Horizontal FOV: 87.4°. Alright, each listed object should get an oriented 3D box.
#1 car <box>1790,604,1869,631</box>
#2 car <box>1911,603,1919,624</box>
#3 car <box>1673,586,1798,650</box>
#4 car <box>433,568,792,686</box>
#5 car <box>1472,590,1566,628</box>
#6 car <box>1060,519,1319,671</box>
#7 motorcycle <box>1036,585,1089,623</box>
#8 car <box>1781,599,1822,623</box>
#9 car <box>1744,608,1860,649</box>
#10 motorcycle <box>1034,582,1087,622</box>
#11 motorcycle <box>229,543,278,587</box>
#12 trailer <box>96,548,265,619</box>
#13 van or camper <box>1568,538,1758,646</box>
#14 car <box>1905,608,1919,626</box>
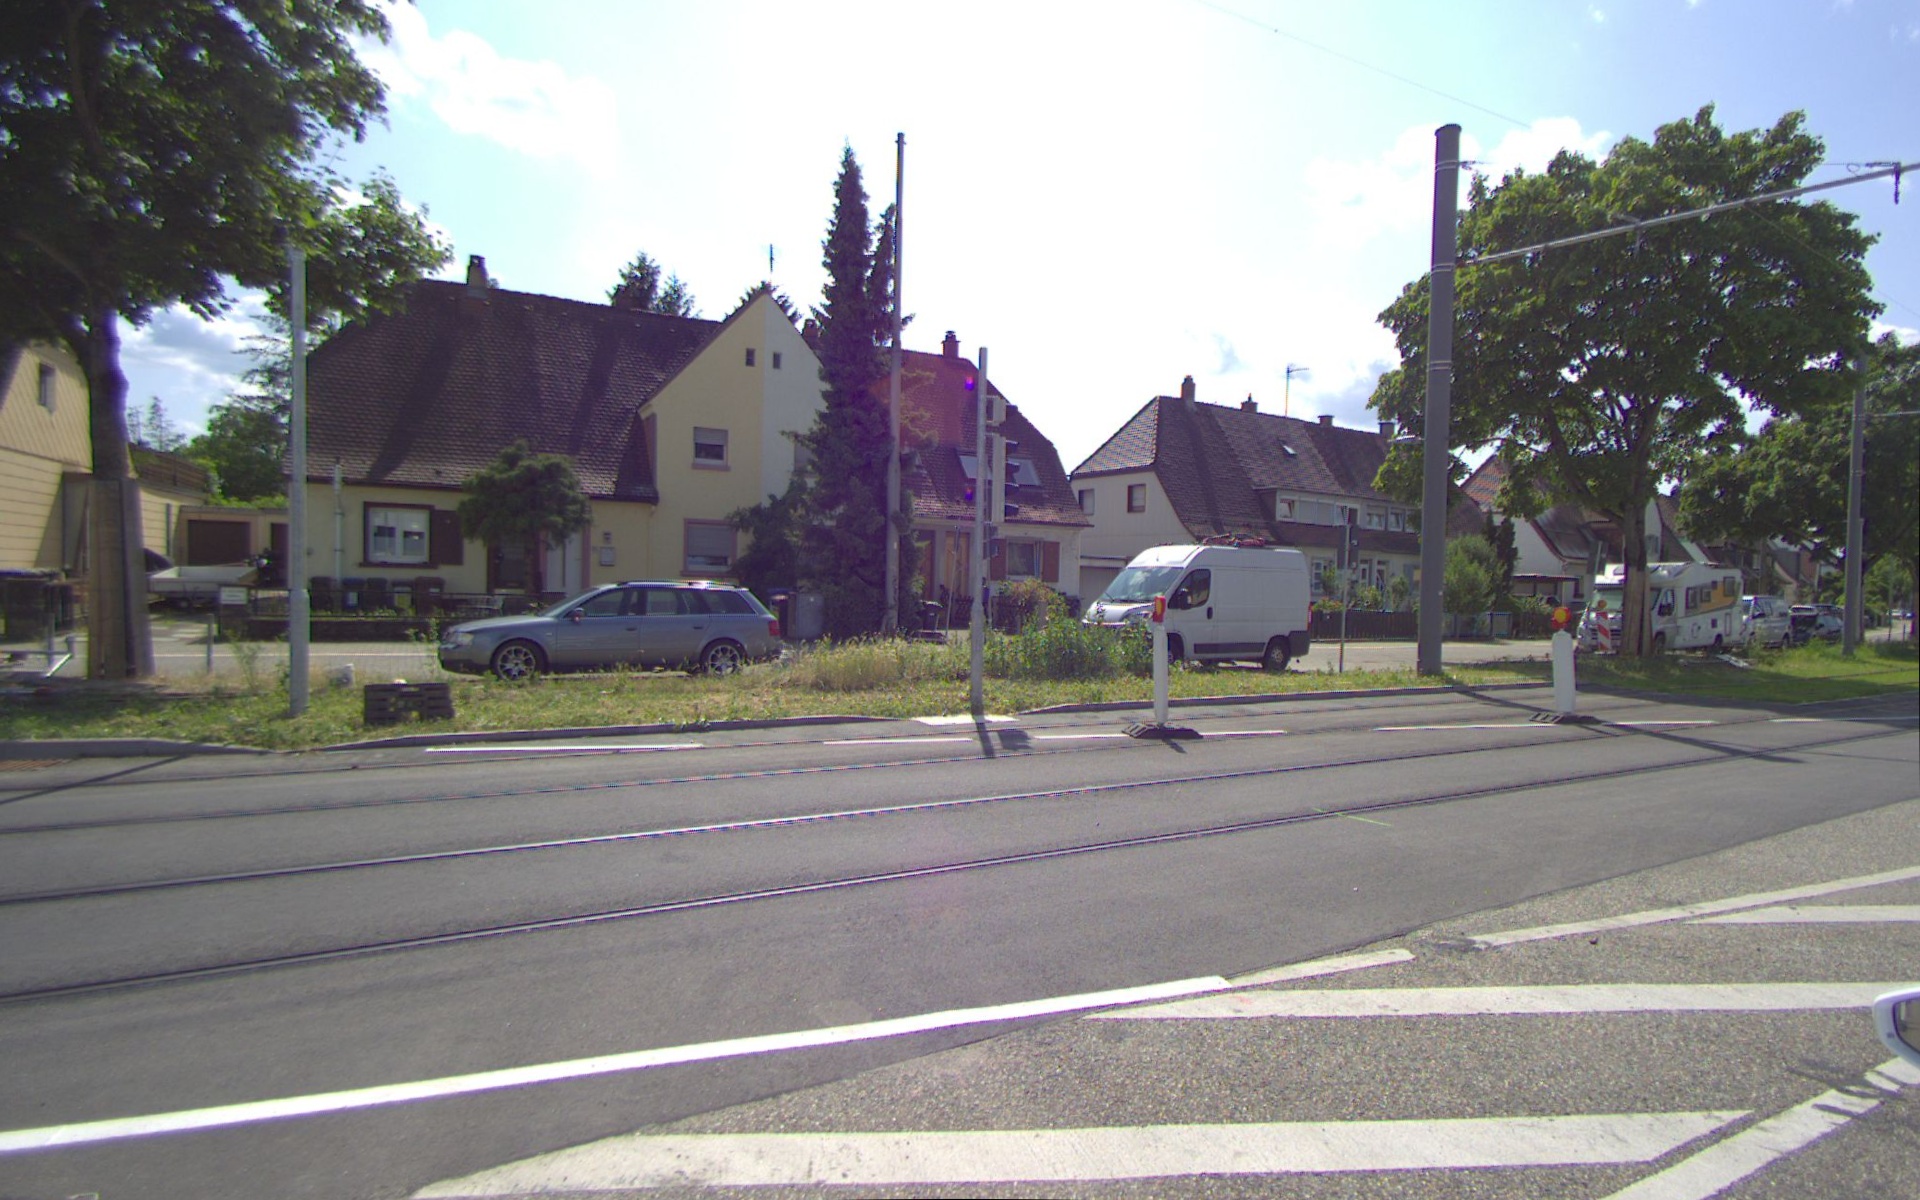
[{"bbox_3d":[66.977,1.356,77.412,2.051,1.861,4.425,1,2,-44],"label":"car"},{"bbox_3d":[129.361,1.782,134.504,2.046,2.757,6.978,0,0,36],"label":"car"},{"bbox_3d":[26.901,0.606,34.808,4.853,2.041,1.981,1,1,-34],"label":"car"},{"bbox_3d":[-4.961,0.362,14.555,4.698,1.484,1.684,1,1,-30],"label":"car"},{"bbox_3d":[29.779,0.465,53.612,1.783,1.761,3.954,1,2,-39],"label":"car"},{"bbox_3d":[4.621,-0.066,20.015,4.860,2.704,2.142,1,1,-32],"label":"car"},{"bbox_3d":[3.331,0.147,32.584,1.775,1.185,0.493,1,1,-34],"label":"motorcycle"},{"bbox_3d":[58.929,0.772,70.308,4.016,1.538,1.711,1,1,-44],"label":"car"},{"bbox_3d":[31.896,1.079,38.007,4.752,1.406,1.843,1,1,-30],"label":"car"},{"bbox_3d":[3.371,0.090,33.546,1.988,1.289,0.570,1,1,-45],"label":"motorcycle"},{"bbox_3d":[-22.733,-1.113,32.366,0.903,1.305,2.801,1,1,-27],"label":"motorcycle"},{"bbox_3d":[-17.906,-0.403,23.384,1.997,1.412,5.238,1,1,-26],"label":"trailer"},{"bbox_3d":[21.797,-0.173,31.001,7.222,3.010,2.360,1,1,-35],"label":"van or camper"},{"bbox_3d":[100.524,1.811,105.015,5.041,1.792,1.865,1,1,-40],"label":"car"}]
